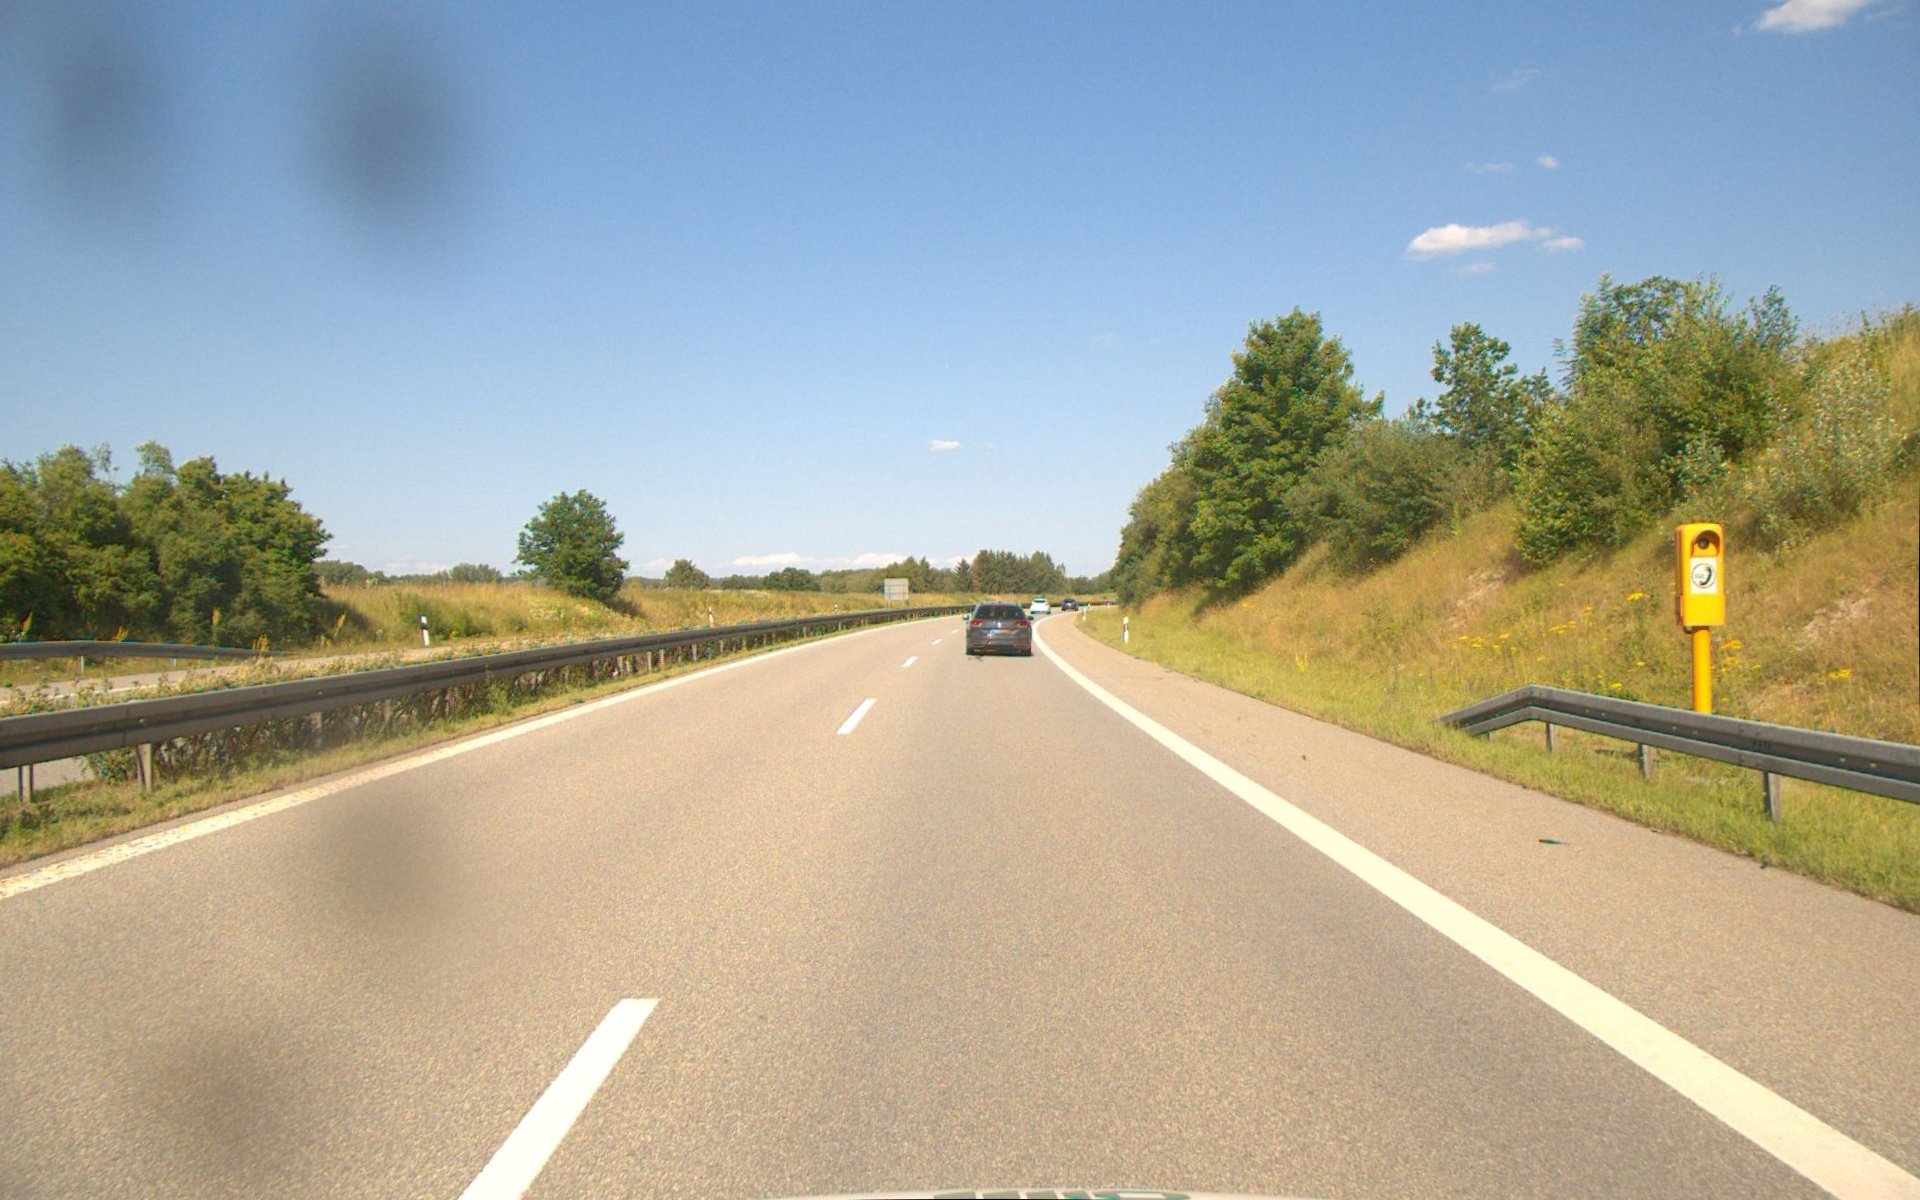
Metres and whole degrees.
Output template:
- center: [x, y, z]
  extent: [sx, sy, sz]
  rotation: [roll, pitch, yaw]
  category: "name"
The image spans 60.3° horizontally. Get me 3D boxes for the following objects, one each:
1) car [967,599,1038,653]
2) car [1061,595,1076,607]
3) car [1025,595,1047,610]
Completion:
- center: [1.118, 0.677, 45.083]
  extent: [1.755, 1.368, 3.999]
  rotation: [0, 0, -1]
  category: "car"
- center: [13.058, 0.124, 198.742]
  extent: [1.674, 1.411, 3.357]
  rotation: [2, -1, 5]
  category: "car"
- center: [7.337, 0.259, 159.309]
  extent: [1.965, 1.368, 4.002]
  rotation: [2, -1, 5]
  category: "car"
